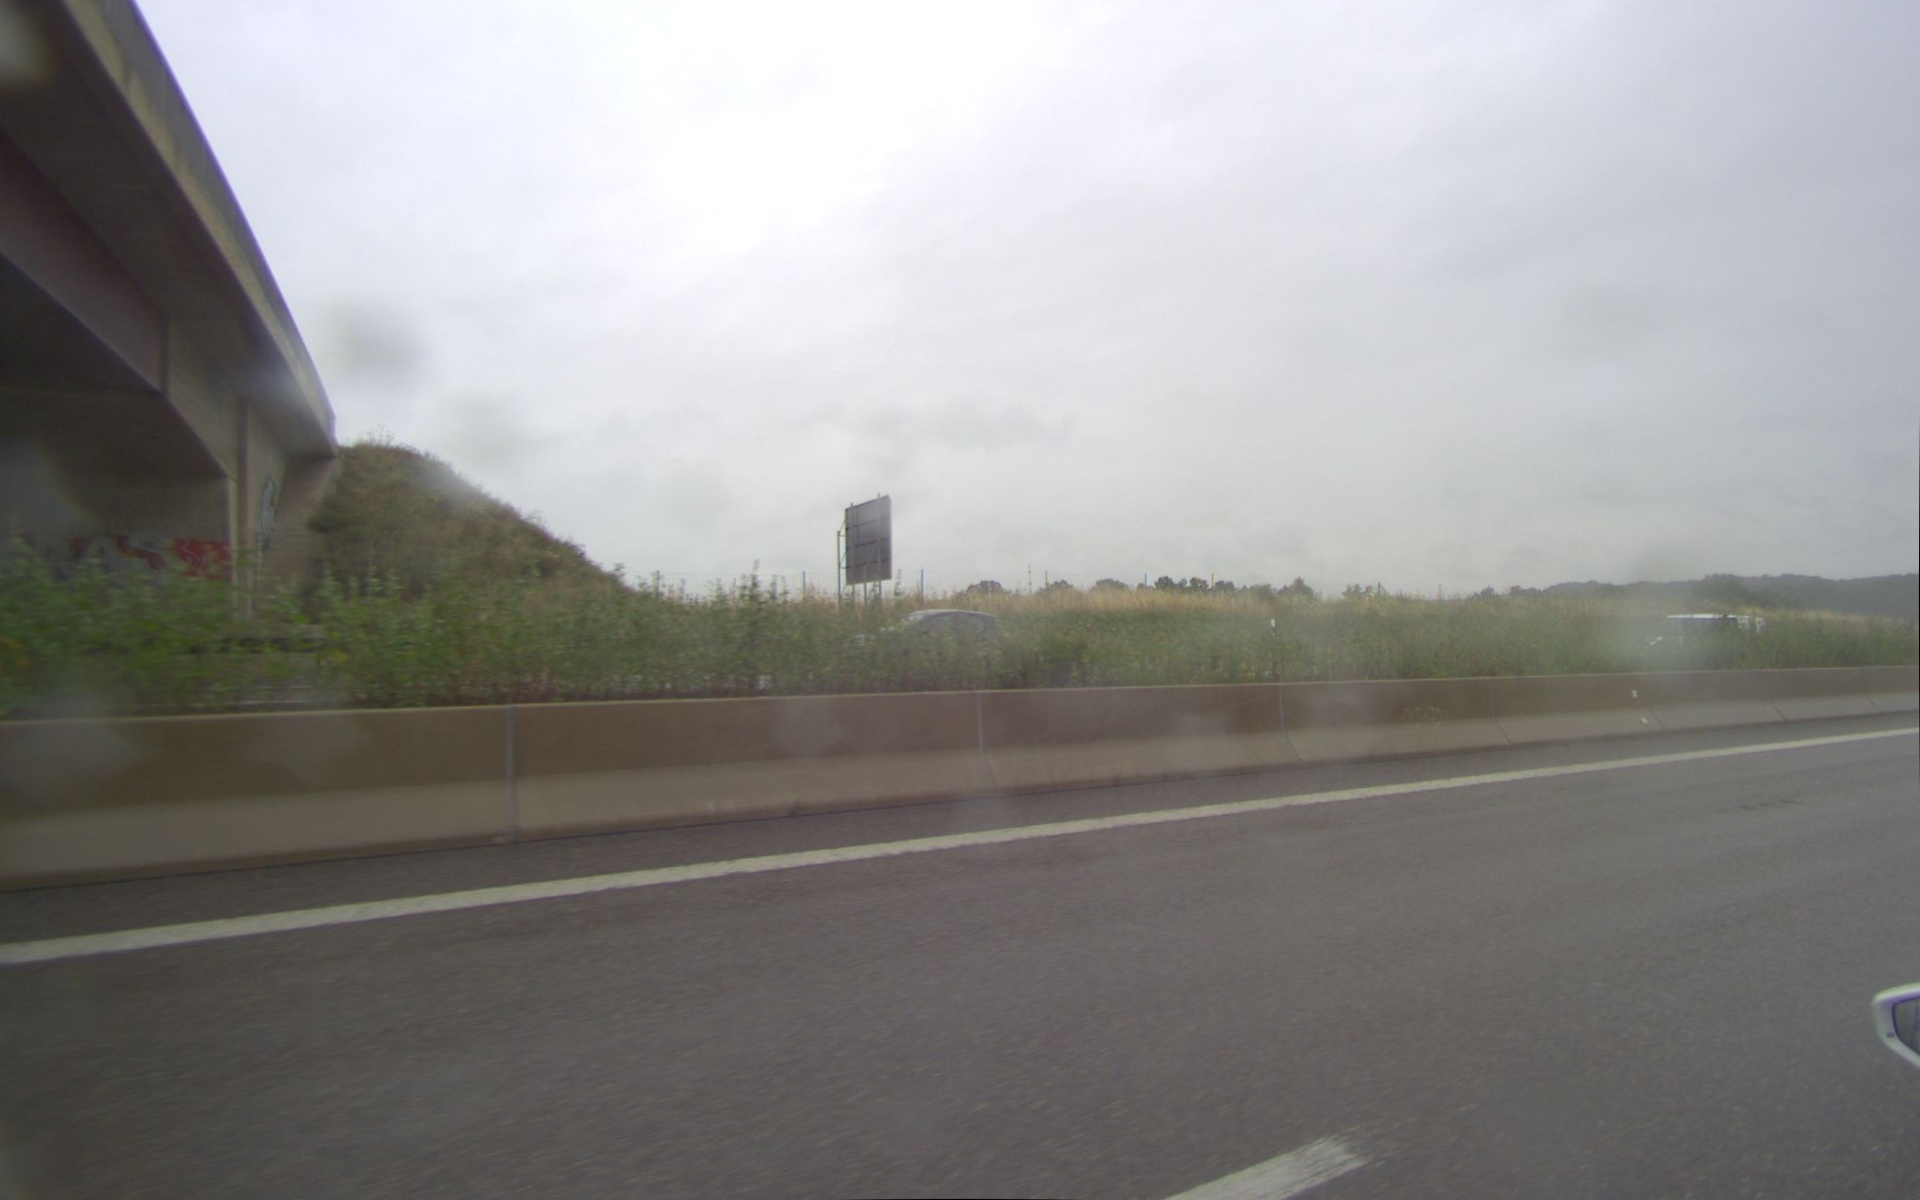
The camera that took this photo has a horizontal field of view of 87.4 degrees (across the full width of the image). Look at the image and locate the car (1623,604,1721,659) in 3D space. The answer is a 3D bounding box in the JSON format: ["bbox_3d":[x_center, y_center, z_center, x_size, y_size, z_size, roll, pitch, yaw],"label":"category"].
[{"bbox_3d":[21.921,0.977,30.920,2.984,1.549,1.335,3,-1,-30],"label":"car"}]
